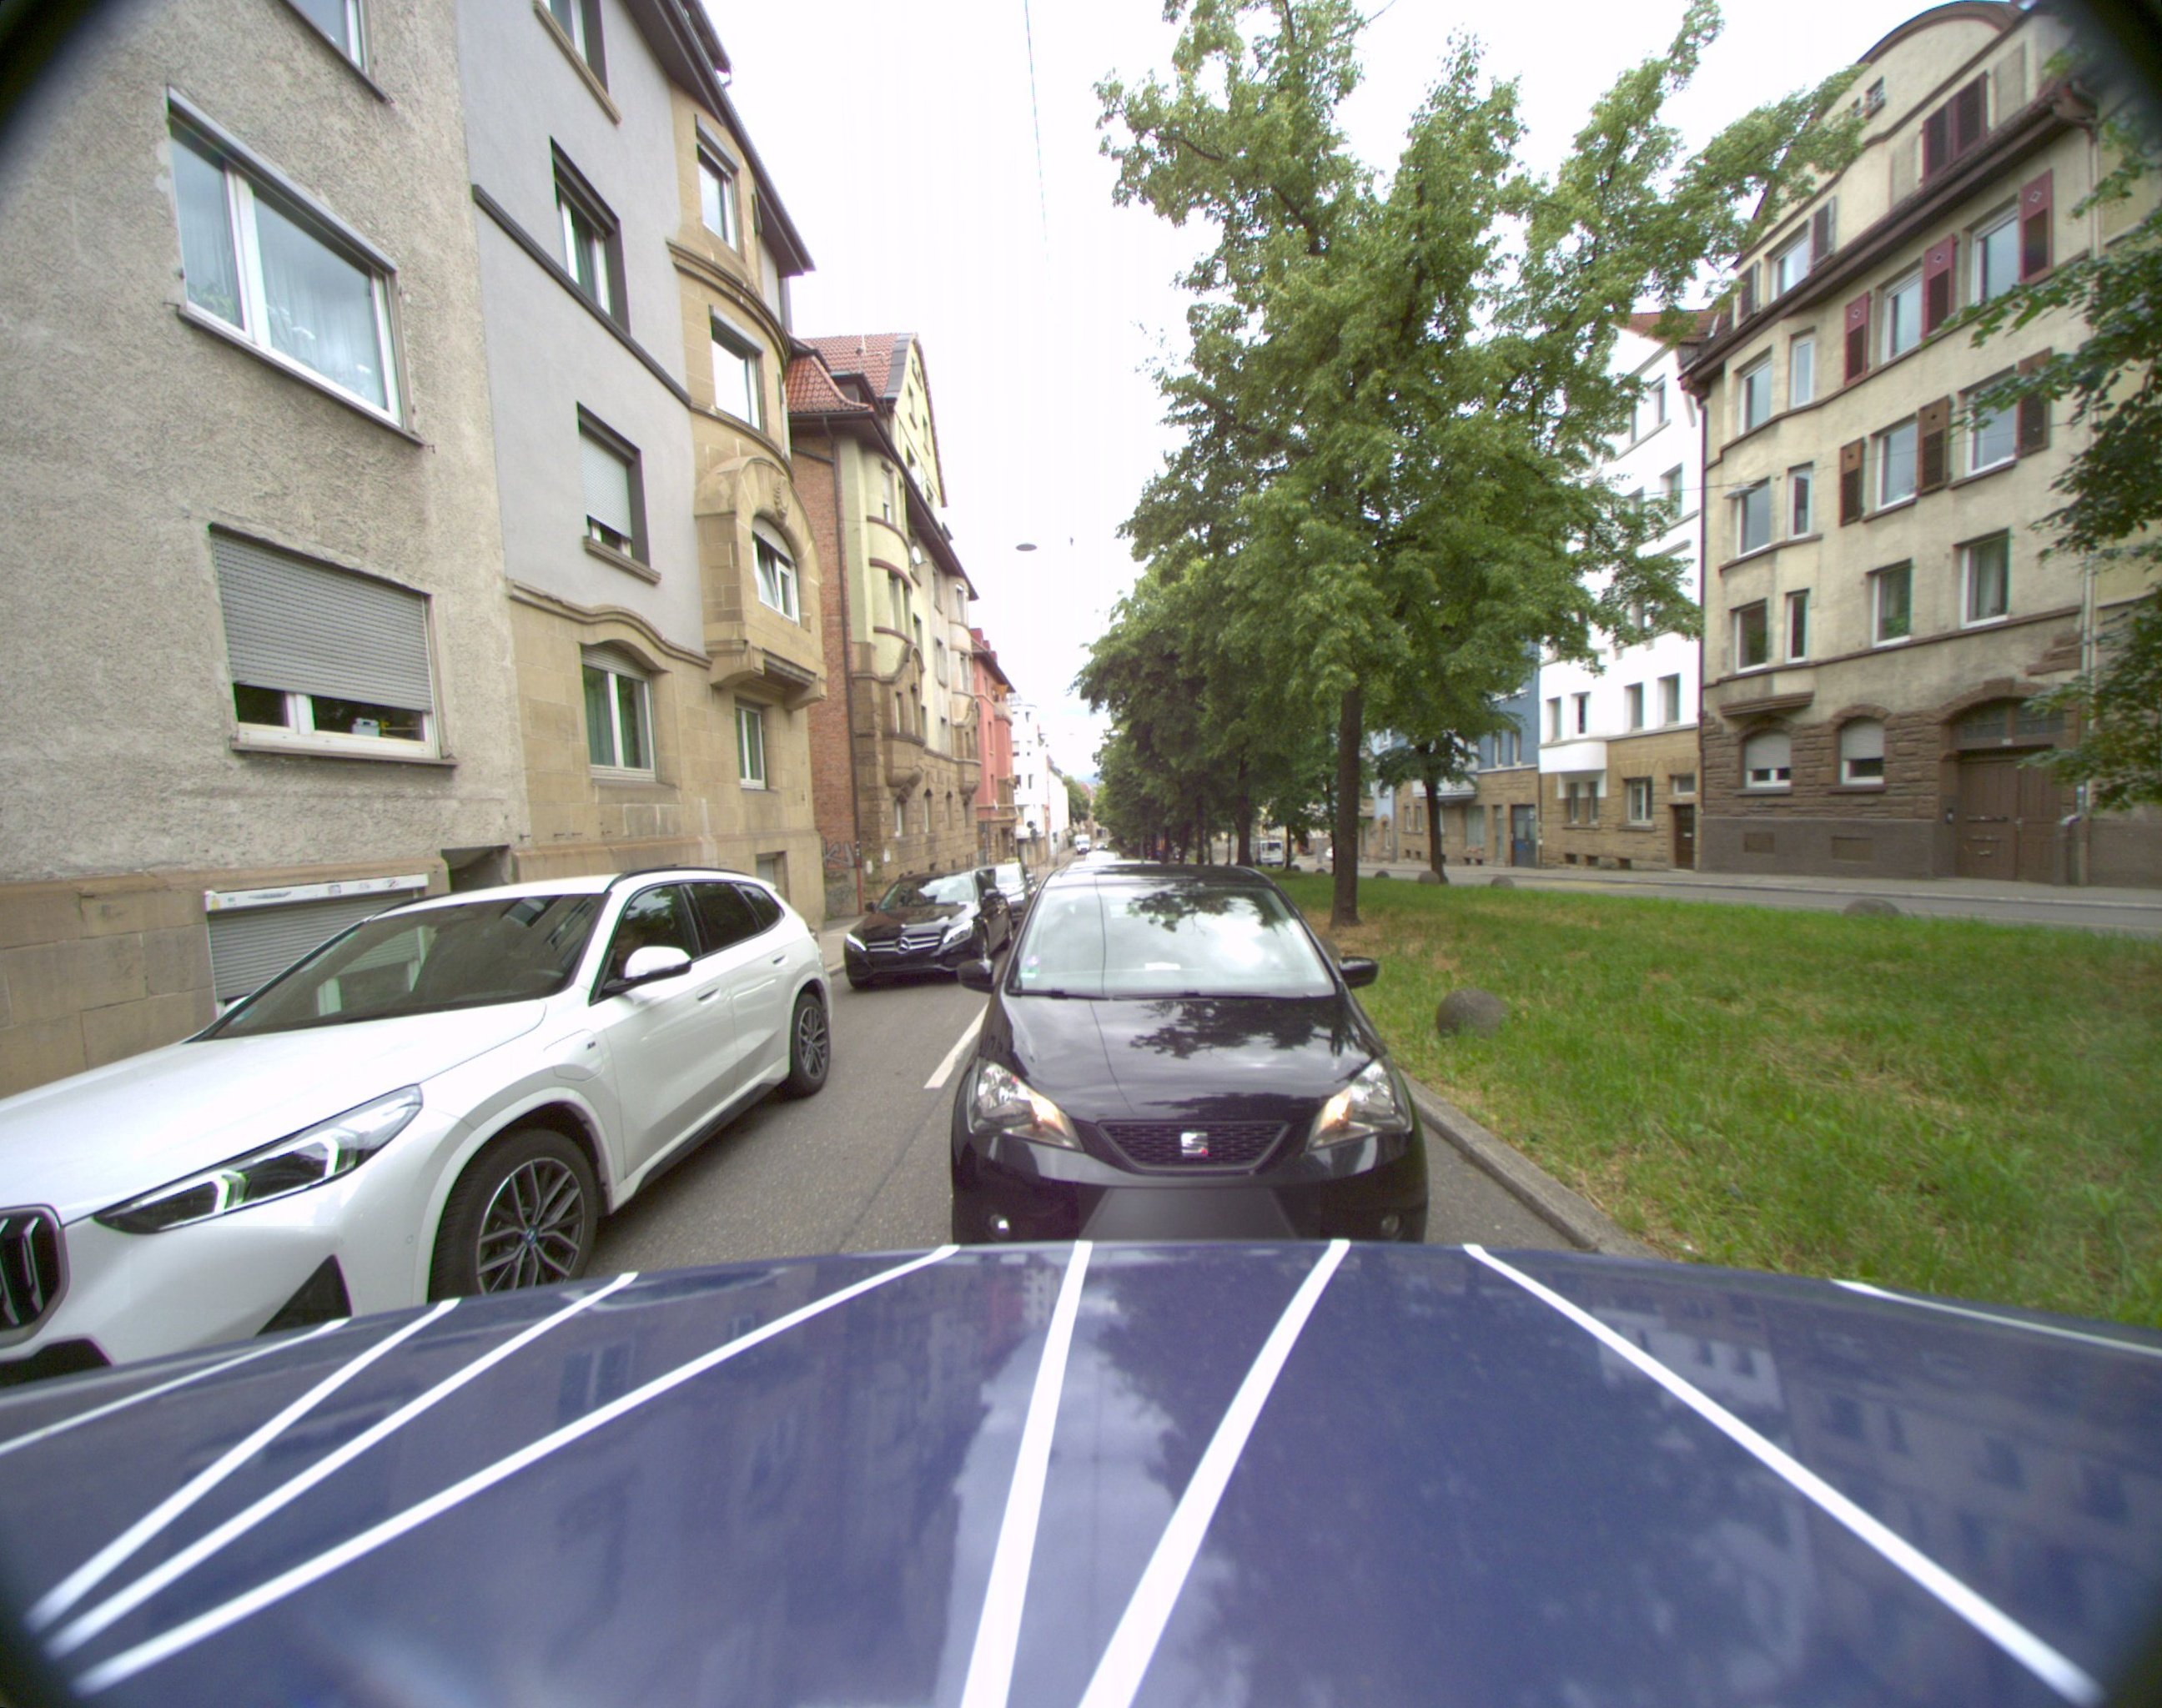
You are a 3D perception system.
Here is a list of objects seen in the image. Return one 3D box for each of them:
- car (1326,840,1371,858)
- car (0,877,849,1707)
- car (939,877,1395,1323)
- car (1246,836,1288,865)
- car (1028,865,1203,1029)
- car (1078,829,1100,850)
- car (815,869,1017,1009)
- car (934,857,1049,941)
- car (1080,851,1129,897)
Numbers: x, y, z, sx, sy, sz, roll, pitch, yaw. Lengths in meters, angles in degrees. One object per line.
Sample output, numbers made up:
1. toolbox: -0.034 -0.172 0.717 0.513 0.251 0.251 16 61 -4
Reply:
1. car: 22.169 -0.437 63.115 3.291 1.323 1.672 -2 1 10
2. car: -2.821 1.077 3.717 1.859 1.547 4.350 -6 1 0
3. car: 0.328 0.931 4.352 1.611 1.457 3.296 0 1 1
4. car: 13.655 -0.252 56.090 1.998 1.933 5.308 -3 0 4
5. car: 0.363 0.933 9.221 1.664 1.456 3.580 -2 1 1
6. car: 1.229 -2.156 114.250 2.715 2.879 6.454 -2 1 4
7. car: -2.159 1.060 11.221 1.884 1.369 4.205 -6 1 1
8. car: -1.967 0.957 18.035 1.936 1.506 4.303 -6 1 2
9. car: 0.828 0.672 27.990 1.607 1.492 3.737 -2 1 1
